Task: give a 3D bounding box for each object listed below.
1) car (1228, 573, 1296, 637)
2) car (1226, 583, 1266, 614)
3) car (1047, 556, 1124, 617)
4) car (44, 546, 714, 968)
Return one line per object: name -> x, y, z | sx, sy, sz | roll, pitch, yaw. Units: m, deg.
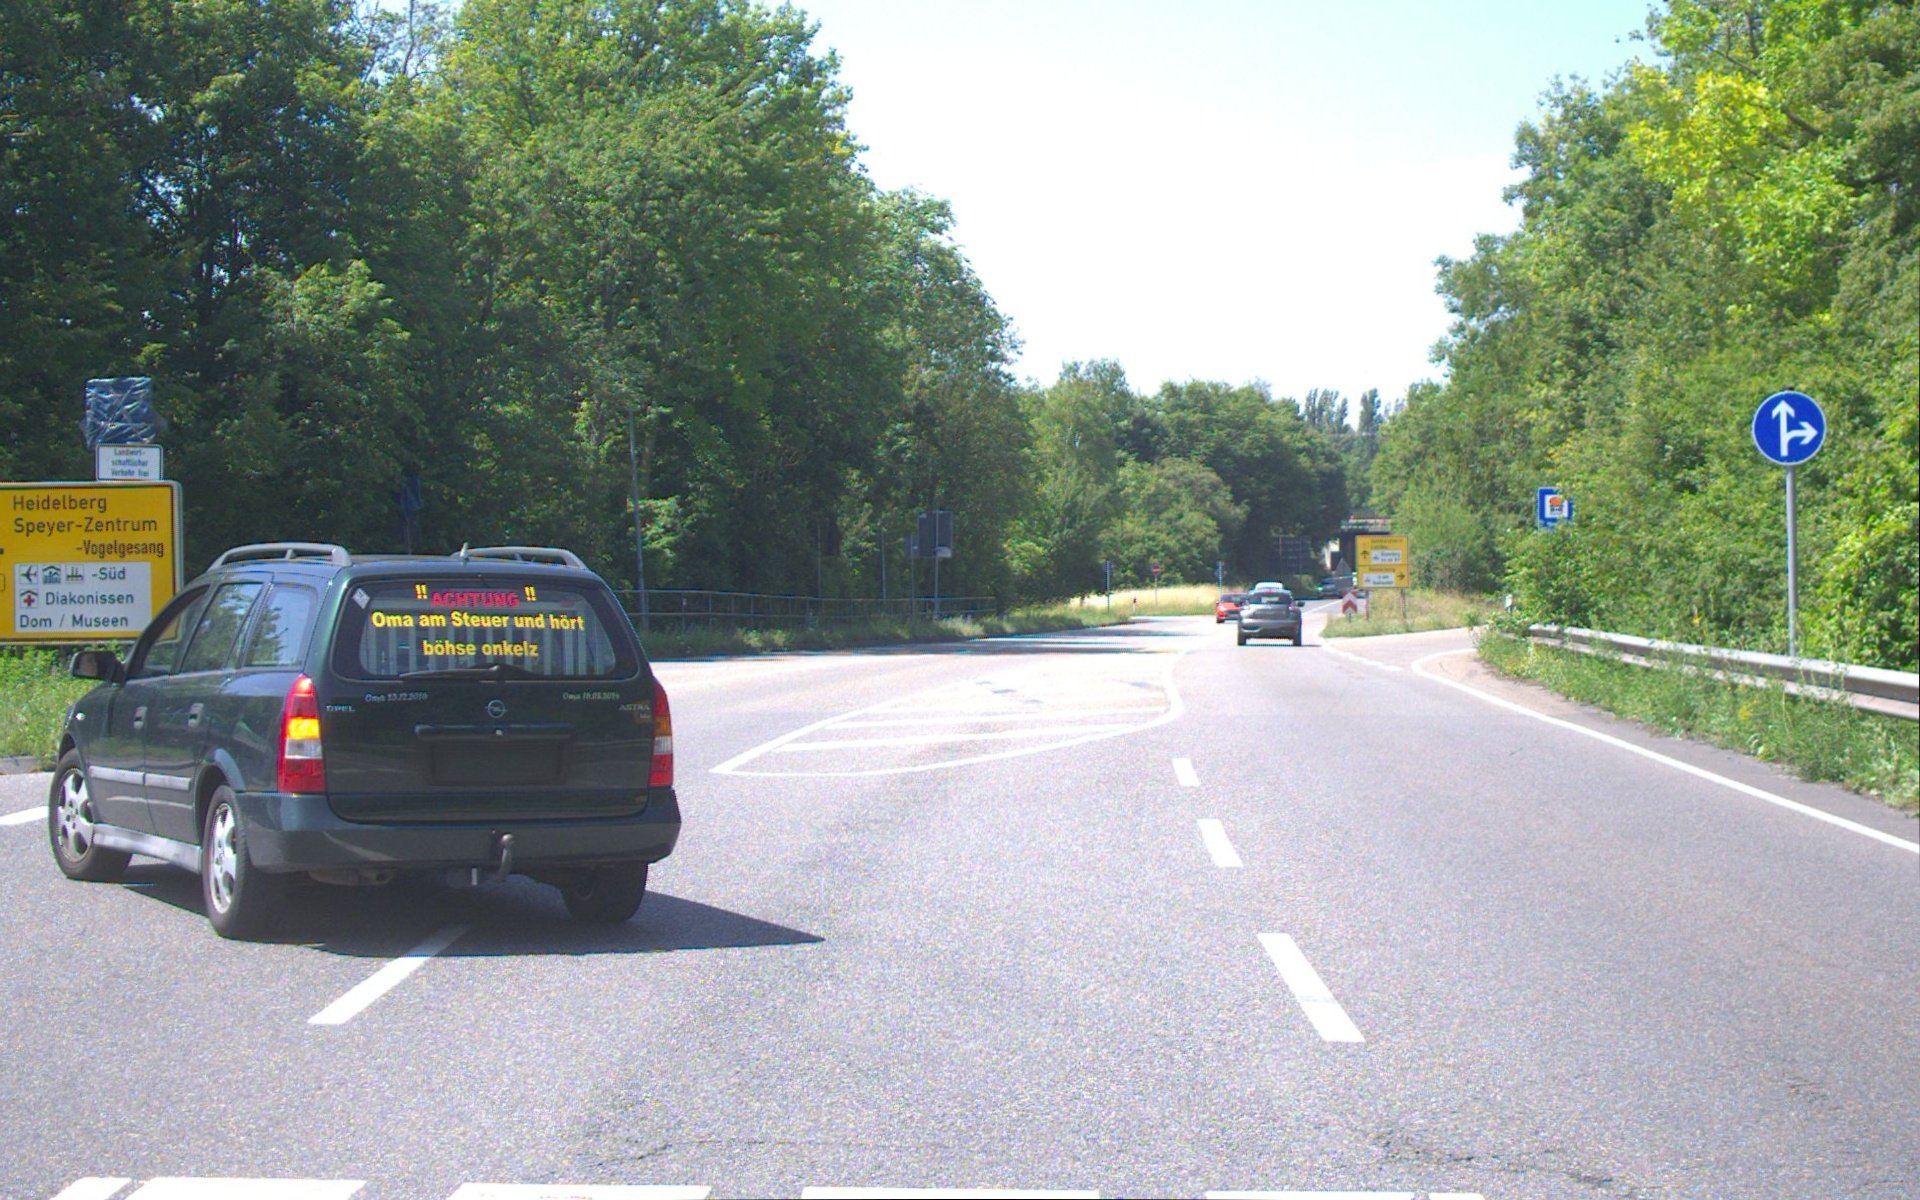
car -> 8.334, 0.120, 95.128 | 1.843, 1.679, 4.000 | 0, 1, 4
car -> 13.715, -0.075, 164.783 | 1.810, 1.453, 3.757 | 0, 1, 7
car -> 6.669, -0.724, 183.159 | 1.993, 3.215, 4.809 | -1, 1, -27
car -> -2.528, 0.522, 14.181 | 1.720, 1.452, 3.798 | 0, 1, -26
